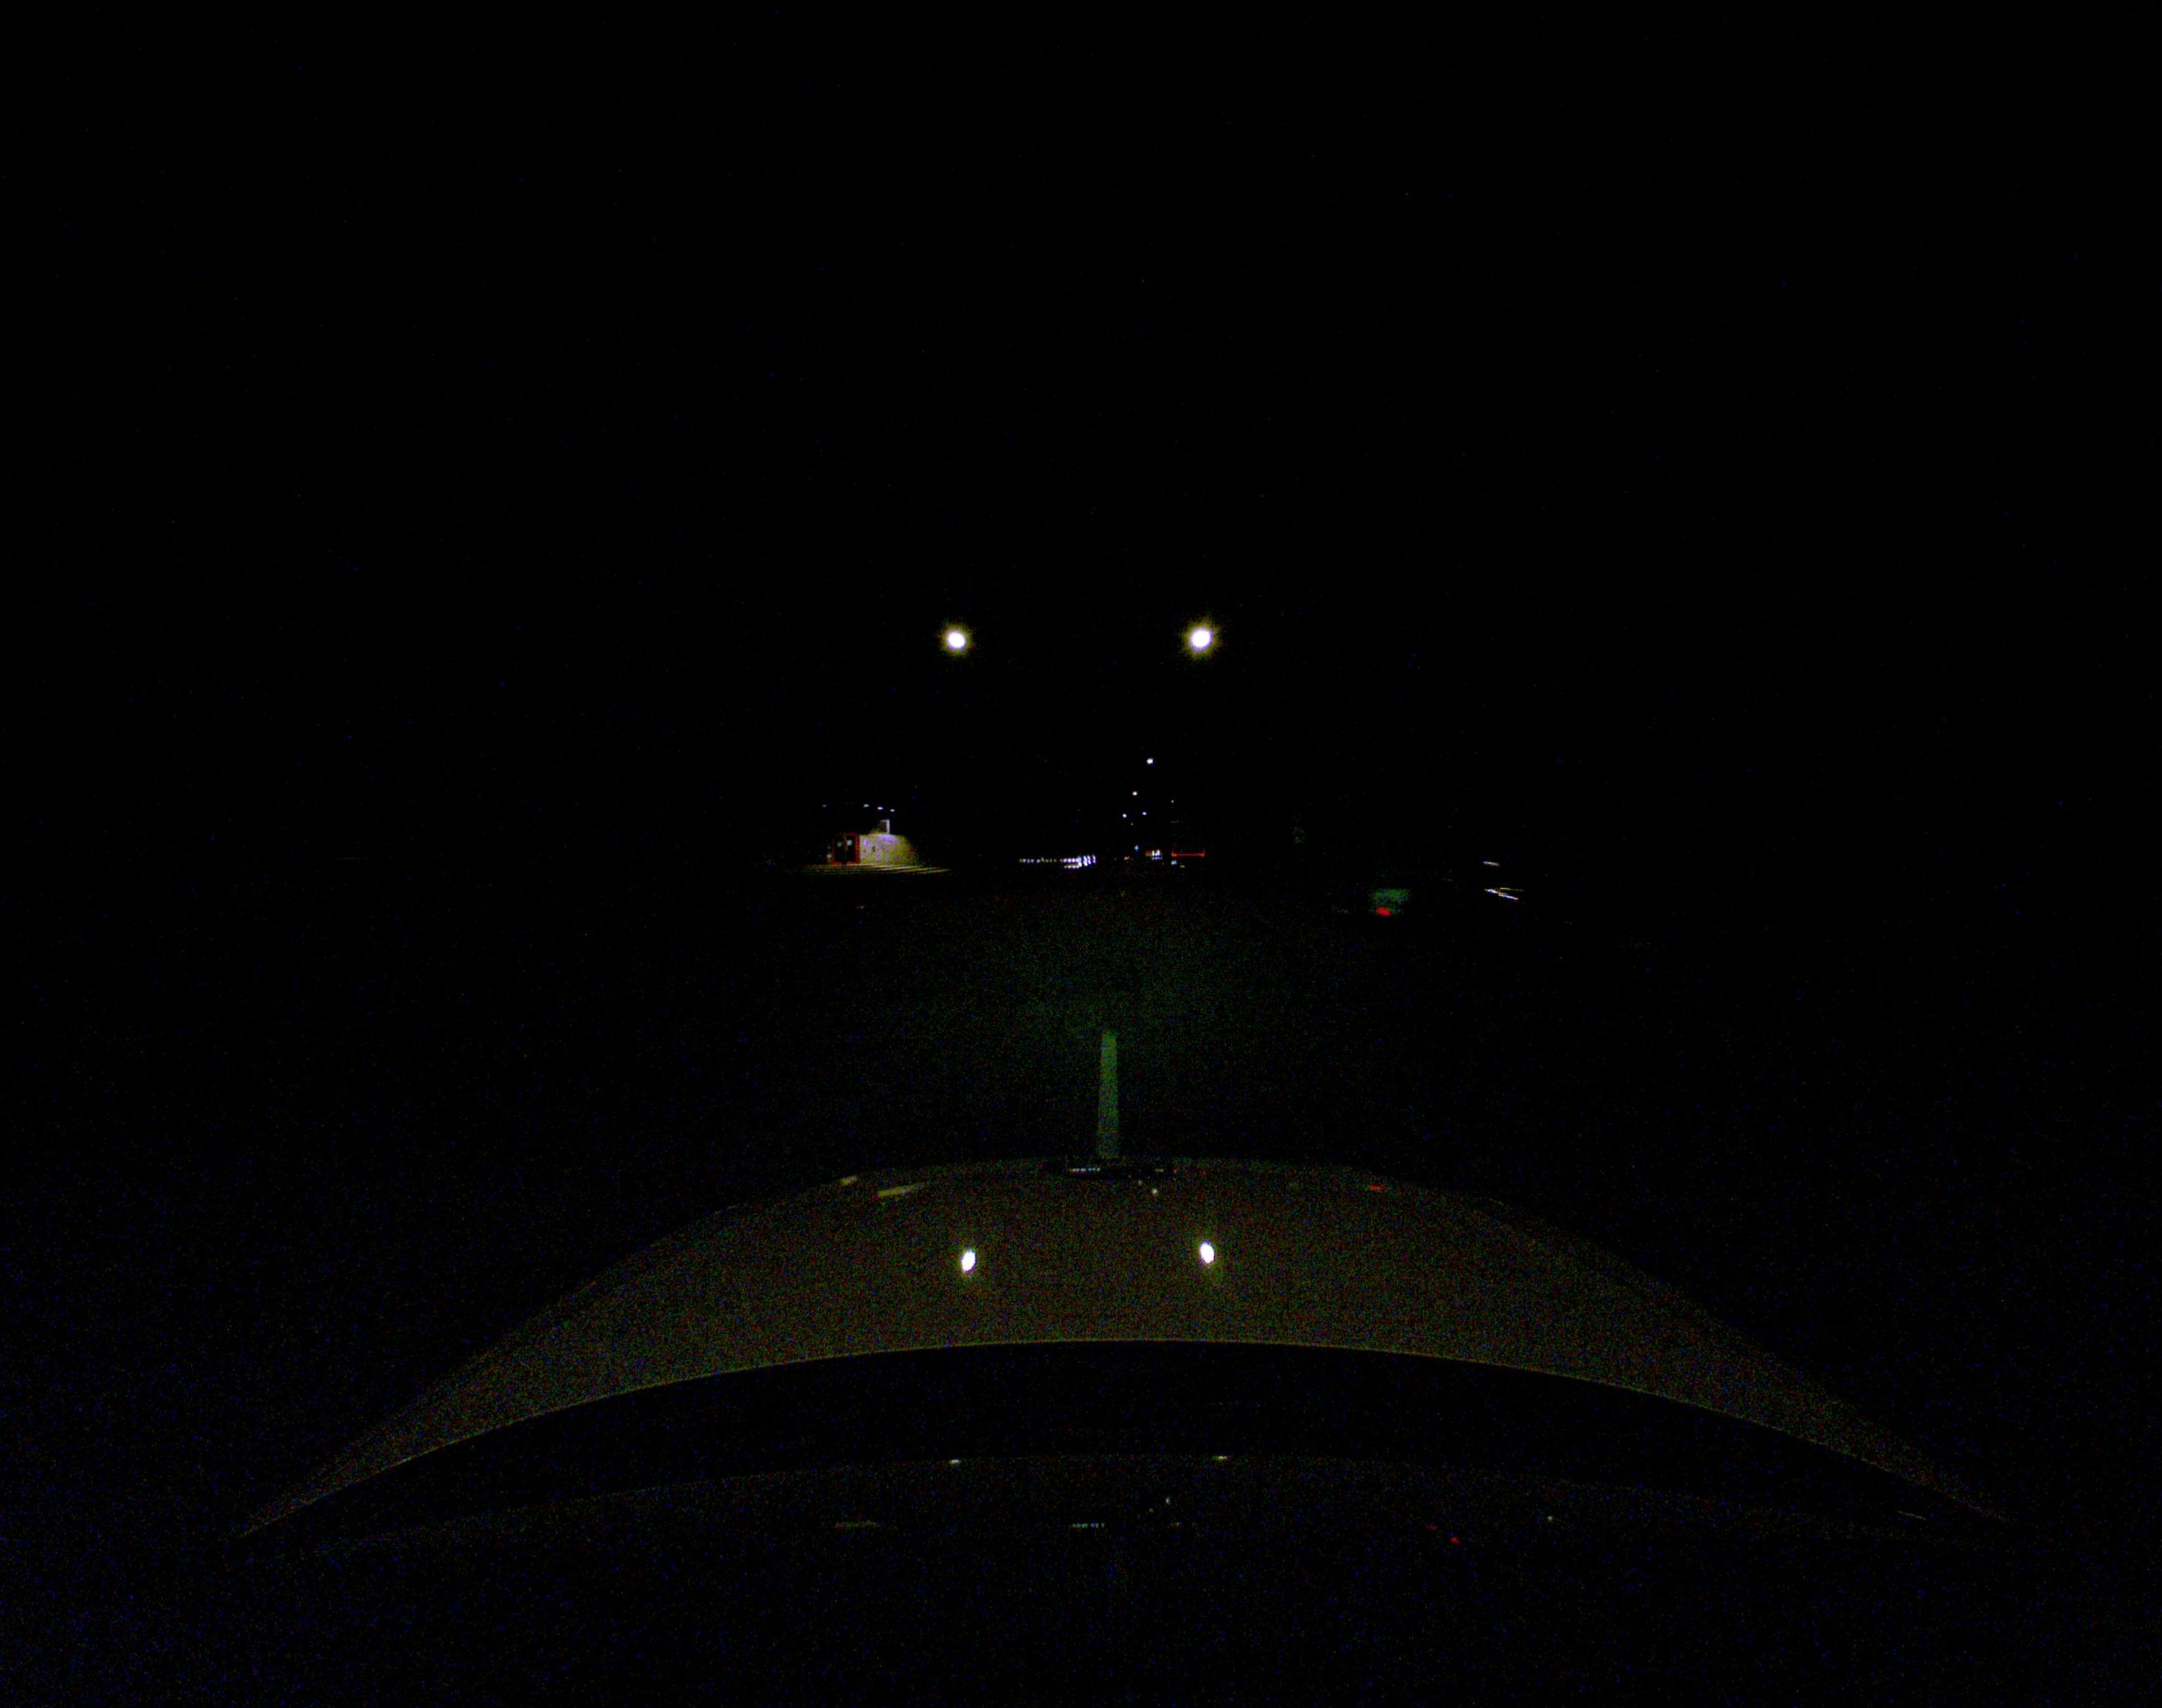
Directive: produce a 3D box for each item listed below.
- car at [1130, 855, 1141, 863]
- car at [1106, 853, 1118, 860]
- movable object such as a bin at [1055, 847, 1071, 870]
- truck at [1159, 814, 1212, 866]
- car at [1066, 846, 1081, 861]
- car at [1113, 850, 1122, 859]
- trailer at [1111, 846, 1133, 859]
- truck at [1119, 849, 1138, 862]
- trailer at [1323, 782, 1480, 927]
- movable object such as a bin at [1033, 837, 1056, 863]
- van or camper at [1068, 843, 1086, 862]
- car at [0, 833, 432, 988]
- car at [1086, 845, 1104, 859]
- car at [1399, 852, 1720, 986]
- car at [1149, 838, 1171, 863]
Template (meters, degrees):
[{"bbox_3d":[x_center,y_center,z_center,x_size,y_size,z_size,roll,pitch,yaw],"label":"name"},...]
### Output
[{"bbox_3d":[12.502,1.249,186.053,1.707,1.821,4.018,-1,-1,17],"label":"car"},{"bbox_3d":[8.027,0.643,210.253,1.978,1.699,4.225,-1,-1,17],"label":"car"},{"bbox_3d":[-2.269,0.588,102.290,1.568,2.733,3.695,-4,1,-5],"label":"movable object such as a bin"},{"bbox_3d":[8.231,-1.061,65.225,3.311,3.868,9.332,-1,0,2],"label":"truck"},{"bbox_3d":[-1.482,-0.127,164.978,2.510,2.927,7.202,-3,0,1],"label":"car"},{"bbox_3d":[6.998,0.051,157.839,1.713,1.661,4.003,0,-1,3],"label":"car"},{"bbox_3d":[7.124,-0.246,142.767,1.567,2.160,5.178,-3,-1,-25],"label":"trailer"},{"bbox_3d":[13.242,0.447,224.738,1.975,3.403,9.032,0,1,26],"label":"truck"},{"bbox_3d":[6.467,-0.013,16.924,1.984,2.651,4.006,0,1,5],"label":"trailer"},{"bbox_3d":[-3.709,-0.409,82.581,1.553,2.467,2.822,-2,0,-19],"label":"movable object such as a bin"},{"bbox_3d":[-0.675,-0.288,140.061,2.508,3.094,7.452,-3,0,3],"label":"van or camper"},{"bbox_3d":[-12.169,0.717,11.485,4.415,1.972,2.001,0,1,1],"label":"car"},{"bbox_3d":[3.323,-0.590,194.703,2.500,3.171,7.168,-3,0,16],"label":"car"},{"bbox_3d":[6.115,0.698,11.182,1.721,1.386,4.677,0,1,1],"label":"car"},{"bbox_3d":[8.030,-0.384,82.831,2.099,2.516,6.380,0,1,5],"label":"car"}]
